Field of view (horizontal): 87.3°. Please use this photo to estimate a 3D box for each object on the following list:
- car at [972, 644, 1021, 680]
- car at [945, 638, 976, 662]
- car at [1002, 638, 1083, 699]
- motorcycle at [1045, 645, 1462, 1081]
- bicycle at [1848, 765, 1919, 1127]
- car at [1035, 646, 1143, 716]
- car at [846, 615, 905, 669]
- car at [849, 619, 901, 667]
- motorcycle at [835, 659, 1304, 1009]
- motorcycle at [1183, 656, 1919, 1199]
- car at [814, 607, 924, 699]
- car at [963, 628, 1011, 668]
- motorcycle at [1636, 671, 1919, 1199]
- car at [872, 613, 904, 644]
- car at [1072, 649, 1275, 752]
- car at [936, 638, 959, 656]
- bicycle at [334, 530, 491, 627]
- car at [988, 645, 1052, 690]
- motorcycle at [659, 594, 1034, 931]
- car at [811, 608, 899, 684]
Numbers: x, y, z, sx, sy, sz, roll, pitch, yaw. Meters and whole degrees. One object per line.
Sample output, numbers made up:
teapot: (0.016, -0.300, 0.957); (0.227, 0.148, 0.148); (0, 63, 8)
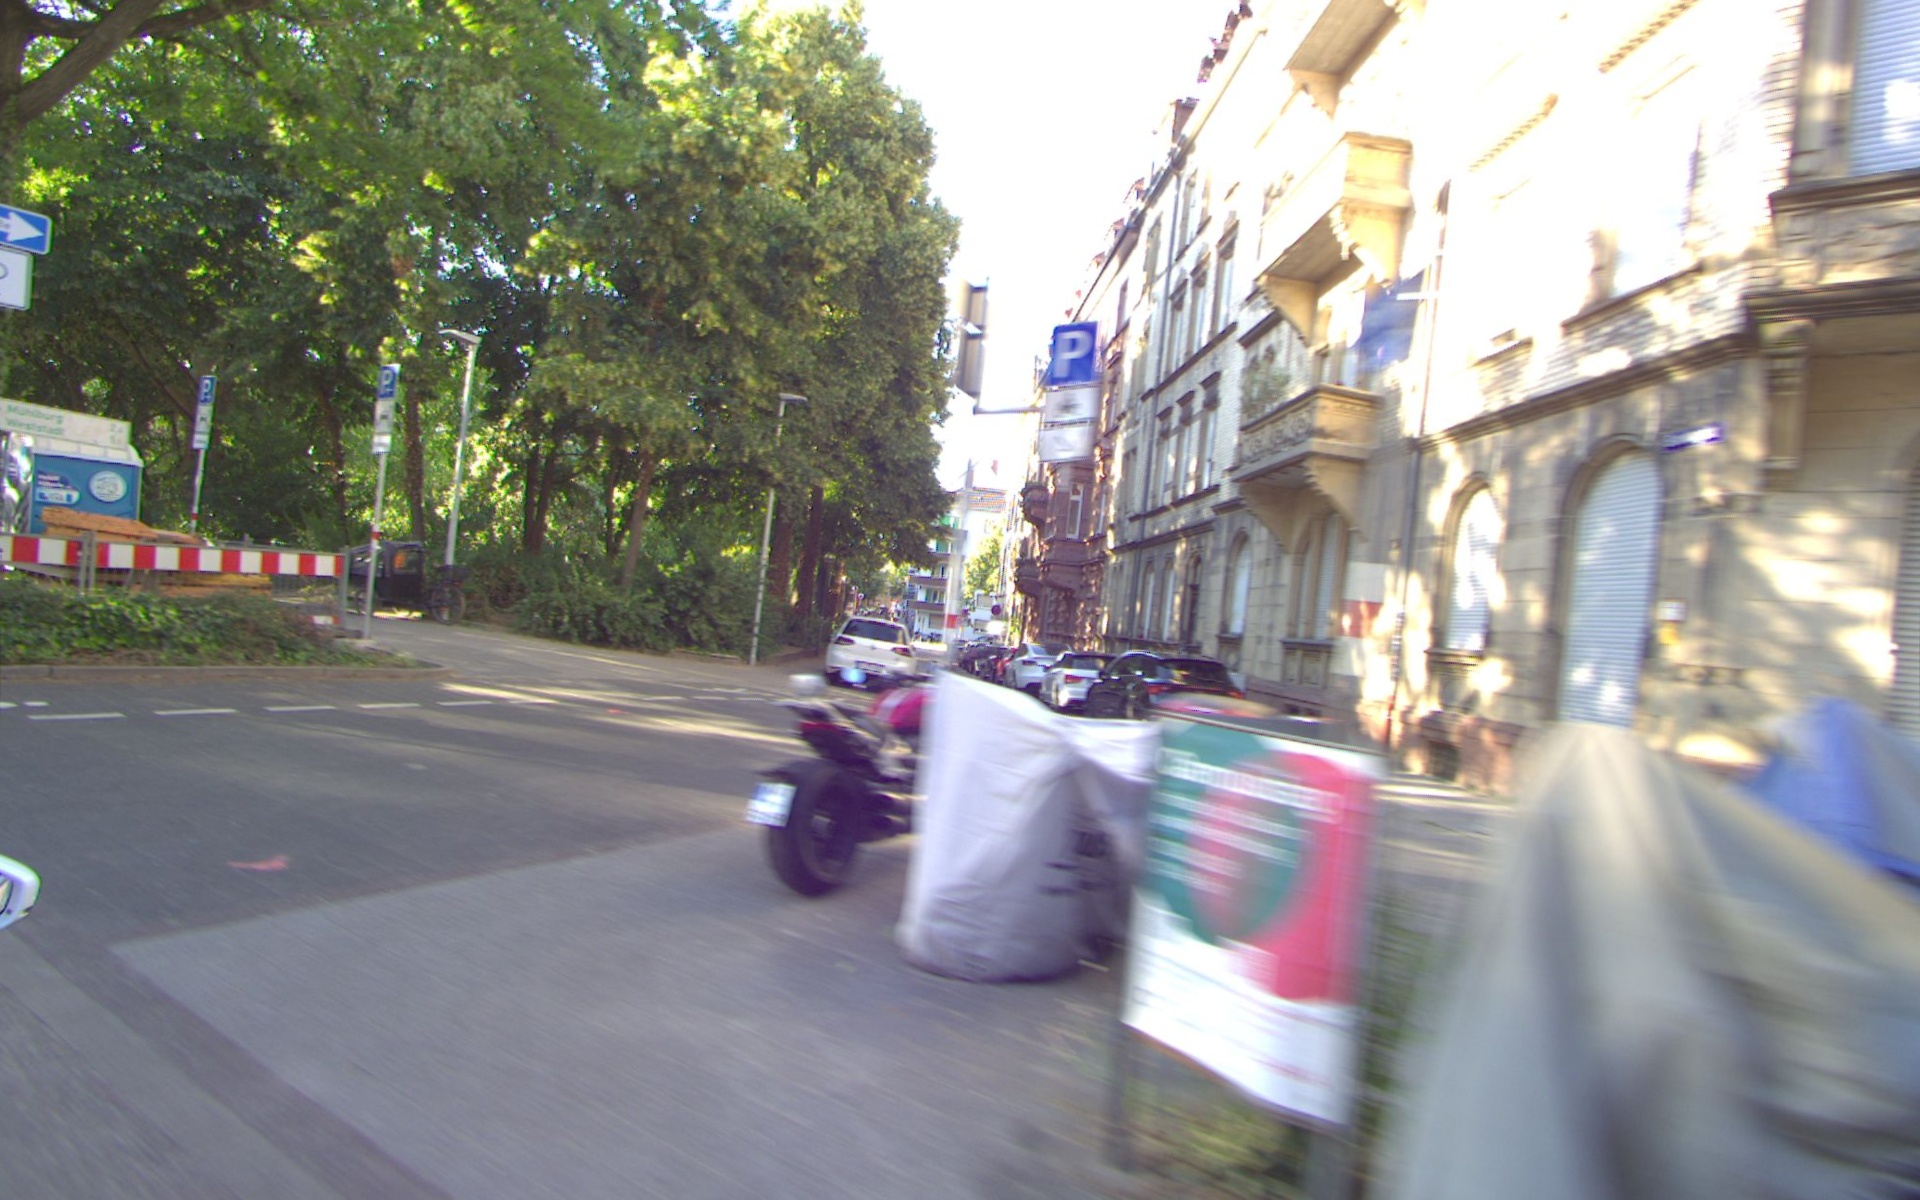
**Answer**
car: (1.543, 2.650, 43.398); (1.739, 1.393, 4.003); (3, -3, -2)
car: (0.007, 3.166, 63.965); (1.739, 1.393, 4.003); (3, -3, -2)
car: (2.269, 1.921, 28.568); (1.739, 1.537, 4.003); (3, -3, -2)
motorcycle: (1.388, 0.976, 4.323); (0.647, 1.357, 2.278); (6, -1, 43)
bicycle: (3.618, 1.276, 3.289); (0.444, 1.261, 1.929); (7, -1, 26)
car: (2.850, 1.797, 22.979); (1.739, 1.393, 4.003); (3, -3, -2)
car: (-3.178, 1.635, 37.747); (1.849, 1.602, 4.003); (10, -4, -4)
car: (-3.541, 1.839, 41.948); (1.849, 1.602, 4.003); (10, -4, -4)
motorcycle: (0.642, 0.997, 4.866); (0.958, 1.194, 2.278); (6, -1, 44)
motorcycle: (1.549, 0.958, 2.151); (1.918, 1.429, 0.933); (7, -1, -31)
car: (-1.870, 1.127, 20.850); (1.849, 1.427, 4.003); (10, -4, -4)
car: (1.217, 2.249, 47.713); (1.775, 1.587, 3.999); (7, -1, -3)
motorcycle: (3.260, 1.093, 3.760); (0.742, 1.550, 2.289); (6, -1, 26)
car: (-4.755, 1.899, 66.066); (1.849, 1.602, 4.003); (10, -4, -4)
car: (3.297, 1.546, 16.522); (1.964, 1.393, 4.367); (3, -3, -6)
car: (-1.094, 3.919, 83.855); (1.739, 1.393, 4.003); (3, -3, -2)
bicycle: (-8.977, -0.345, 16.502); (2.107, 1.302, 1.026); (7, 1, 19)
car: (2.016, 2.300, 34.732); (1.739, 1.393, 4.003); (3, -3, -2)
motorcycle: (-0.460, 0.774, 5.584); (0.923, 1.357, 2.372); (6, -1, 22)
car: (-2.641, 1.212, 25.706); (1.849, 1.478, 4.003); (10, -4, -4)
